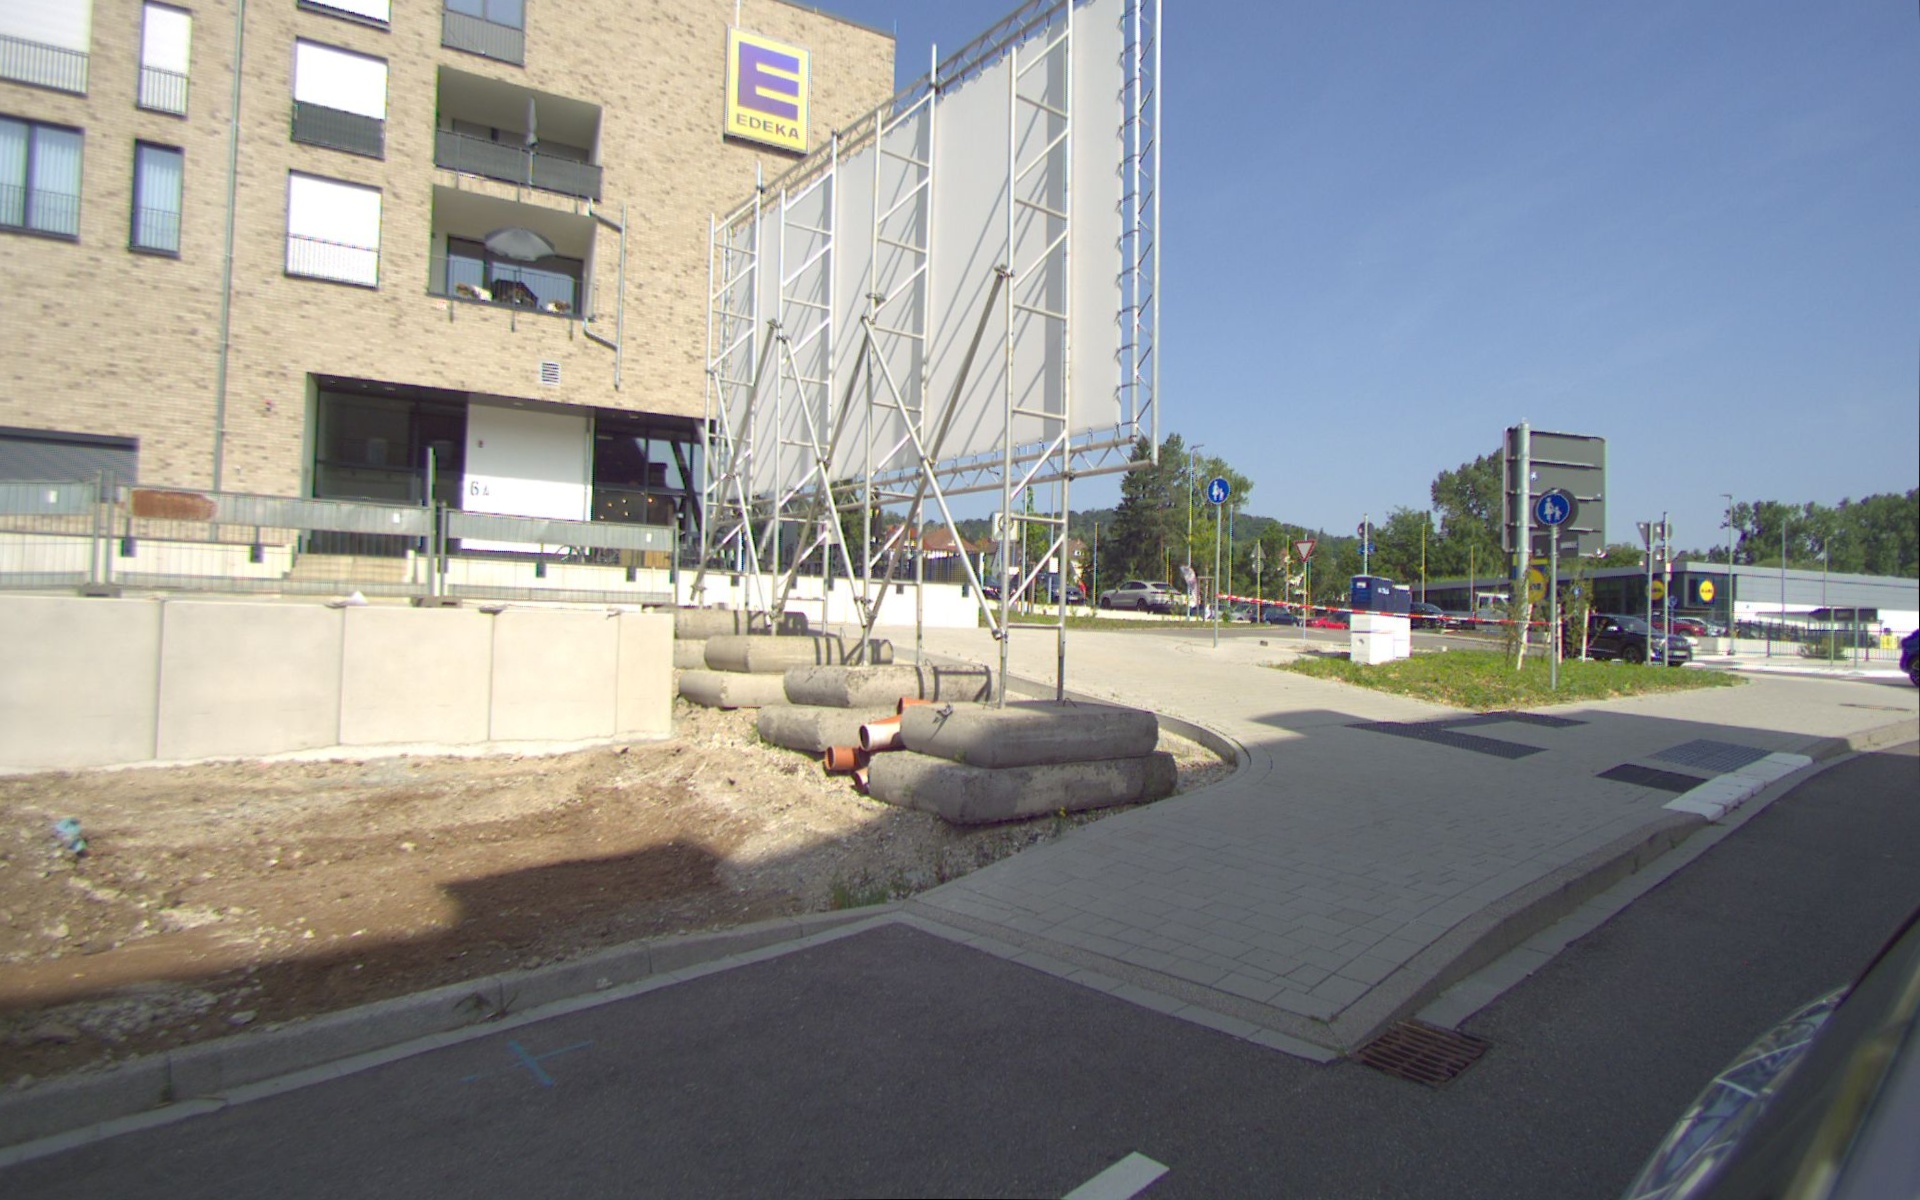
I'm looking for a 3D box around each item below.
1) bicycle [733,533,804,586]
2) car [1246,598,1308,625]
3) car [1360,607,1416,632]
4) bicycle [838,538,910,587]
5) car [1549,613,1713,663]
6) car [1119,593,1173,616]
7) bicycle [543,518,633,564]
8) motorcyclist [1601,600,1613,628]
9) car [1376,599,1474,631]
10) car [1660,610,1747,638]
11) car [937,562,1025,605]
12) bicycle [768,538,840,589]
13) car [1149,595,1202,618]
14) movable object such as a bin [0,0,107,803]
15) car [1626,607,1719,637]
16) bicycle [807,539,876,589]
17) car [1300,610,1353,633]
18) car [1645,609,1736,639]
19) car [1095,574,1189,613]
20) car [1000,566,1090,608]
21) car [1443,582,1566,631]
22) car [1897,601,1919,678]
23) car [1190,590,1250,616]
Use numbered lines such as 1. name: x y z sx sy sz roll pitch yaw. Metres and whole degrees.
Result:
1. bicycle: -5.004 -1.025 26.316 0.841 1.159 2.241 4 -4 -39
2. car: 21.062 0.793 67.161 3.708 1.595 1.765 3 -4 -25
3. car: 30.820 1.424 72.834 3.708 1.595 1.668 3 -4 -25
4. bicycle: -2.377 -0.990 27.738 0.841 1.159 2.241 4 -4 -39
5. car: 21.193 1.164 32.163 1.609 1.410 4.238 2 -1 -18
6. car: 13.445 0.369 73.086 3.556 1.464 1.528 3 -4 -24
7. bicycle: -10.158 -1.595 27.673 2.198 1.059 0.694 3 -4 -27
8. motorcyclist: 37.196 0.814 58.184 0.510 1.563 0.576 -1 -4 27
9. car: 24.893 0.845 54.336 1.882 1.550 4.868 3 -3 -20
10. car: 44.883 1.466 61.143 1.674 1.595 3.991 4 -4 -42
11. car: 0.864 -0.761 44.628 1.820 1.575 4.468 5 0 -28
12. bicycle: -4.149 -0.943 26.829 0.841 1.159 2.241 4 -4 -39
13. car: 14.374 0.449 67.444 3.299 1.392 1.526 4 -3 -33
14. movable object such as a bin: -6.865 -1.362 2.010 7.654 3.905 2.300 2 -3 -38
15. car: 40.710 1.309 57.905 1.747 1.595 4.016 4 -4 -39
16. bicycle: -3.205 -0.947 27.264 0.752 1.159 2.241 4 -4 -39
17. car: 28.159 1.669 77.752 3.708 1.595 1.765 3 -4 -25
18. car: 42.733 1.432 59.276 1.747 1.595 4.016 4 -4 -39
19. car: 8.667 -0.360 48.618 1.819 1.575 4.831 5 0 -26
20. car: 3.761 -0.619 45.822 1.820 1.575 4.468 5 0 -28
21. car: 30.142 0.436 56.279 2.017 2.415 6.101 3 -4 -22
22. car: 22.231 0.946 20.766 1.851 1.684 4.354 2 1 -1
23. car: 16.740 0.203 65.233 3.556 1.464 1.528 3 -4 -24
